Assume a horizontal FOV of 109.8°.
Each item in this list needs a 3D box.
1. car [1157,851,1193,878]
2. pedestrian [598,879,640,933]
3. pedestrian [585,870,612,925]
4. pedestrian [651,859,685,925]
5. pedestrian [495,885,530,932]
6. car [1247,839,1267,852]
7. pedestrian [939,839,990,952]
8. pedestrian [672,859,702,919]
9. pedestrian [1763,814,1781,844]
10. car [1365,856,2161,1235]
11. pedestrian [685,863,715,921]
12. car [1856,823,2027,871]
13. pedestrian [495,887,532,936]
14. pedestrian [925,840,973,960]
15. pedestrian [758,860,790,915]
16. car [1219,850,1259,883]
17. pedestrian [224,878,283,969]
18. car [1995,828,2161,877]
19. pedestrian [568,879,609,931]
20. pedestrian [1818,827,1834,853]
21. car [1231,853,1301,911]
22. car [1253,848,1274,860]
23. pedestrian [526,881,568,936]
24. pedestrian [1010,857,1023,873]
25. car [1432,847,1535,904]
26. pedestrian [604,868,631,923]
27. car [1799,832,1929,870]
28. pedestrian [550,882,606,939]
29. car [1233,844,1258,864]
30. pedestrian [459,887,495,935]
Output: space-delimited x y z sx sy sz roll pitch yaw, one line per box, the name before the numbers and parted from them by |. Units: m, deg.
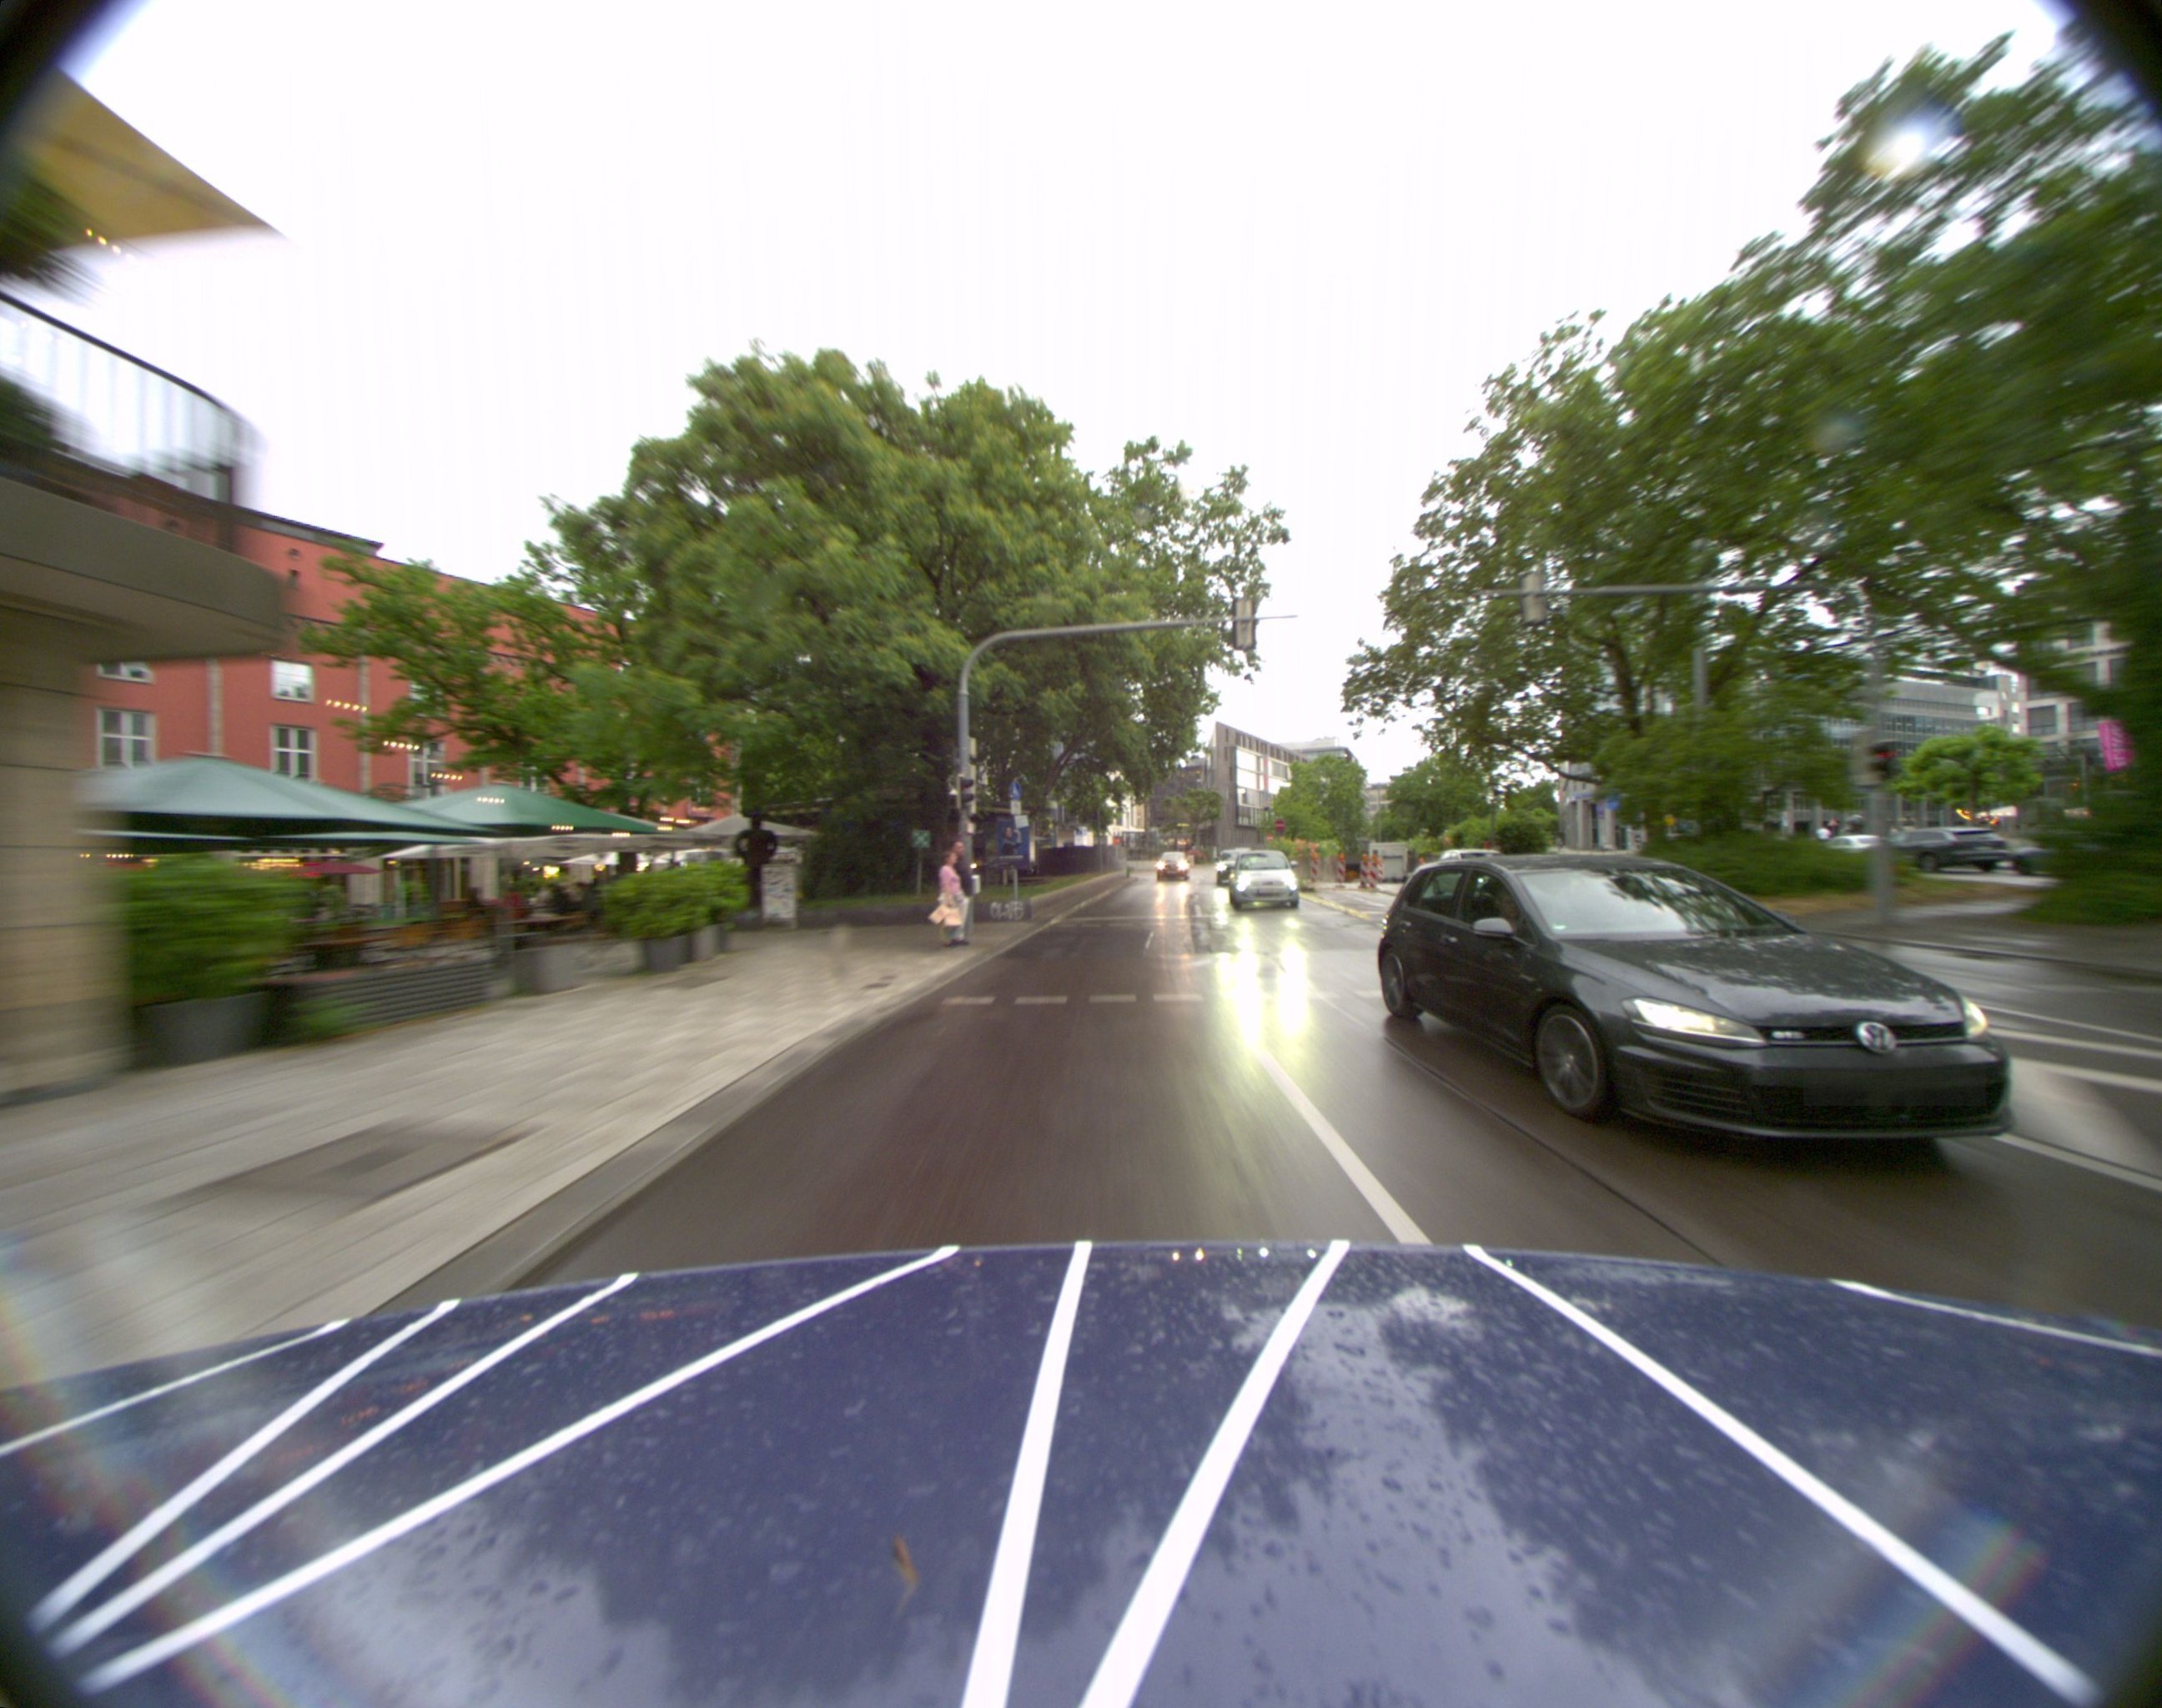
car | 5.046 0.533 40.454 1.715 1.274 3.496 -1 1 10
pedestrian | -11.851 1.314 19.499 0.717 1.319 0.643 -2 1 39
pedestrian | -15.182 1.354 23.896 0.548 1.671 0.498 -3 1 -45
pedestrian | -11.860 1.080 21.814 0.498 1.825 0.643 -2 1 45
pedestrian | -15.694 1.496 20.978 0.632 1.233 0.577 -2 1 38
car | 24.942 -1.164 107.754 1.995 1.734 3.916 -2 0 25
pedestrian | -1.941 0.679 12.689 0.633 1.824 0.563 -1 2 11
pedestrian | -11.167 0.984 21.540 0.548 1.671 0.498 -3 1 -45
pedestrian | 41.645 -1.507 45.790 0.747 1.779 0.424 -3 1 39
car | 3.542 0.788 5.120 1.788 1.444 4.123 -2 0 2
pedestrian | -11.271 1.120 22.483 0.604 1.671 0.548 -2 1 45
car | 32.600 -0.296 29.051 1.996 1.642 4.731 -1 1 14
pedestrian | -14.813 1.493 19.819 0.632 1.233 0.577 -2 1 39
pedestrian | -2.086 0.695 12.016 0.592 1.824 0.628 -2 2 -20
pedestrian | -9.739 1.051 24.088 0.684 1.671 0.570 -3 1 -44
car | 7.234 0.523 34.833 1.715 1.433 3.497 0 1 12
pedestrian | -17.760 1.478 16.317 0.464 1.878 0.633 -3 1 4
car | 31.743 -0.090 23.929 1.844 1.373 4.046 -1 1 16
pedestrian | -12.972 1.335 20.015 0.717 1.319 0.643 -2 1 39
pedestrian | 47.655 -0.885 48.614 0.563 1.618 0.578 -2 2 -25
car | 5.030 0.715 21.018 1.611 1.433 3.496 0 0 9
car | 27.571 0.034 114.676 1.995 1.734 3.916 -2 0 29
pedestrian | -13.490 1.363 19.191 0.717 1.319 0.643 -2 1 39
pedestrian | -3.574 0.610 41.942 0.574 0.867 0.508 -2 1 -22
car | 12.636 0.620 24.111 1.780 1.587 4.002 -2 1 11
pedestrian | -14.519 1.301 23.808 0.548 1.671 0.498 -3 1 -45
car | 34.695 -0.166 33.860 2.009 1.525 4.440 -1 1 15
pedestrian | -12.385 1.374 18.720 0.640 1.319 0.948 -2 1 41
car | 15.435 0.011 71.470 1.997 1.734 3.912 -2 0 8
pedestrian | -16.302 1.520 20.518 0.632 1.233 0.577 -2 1 38
